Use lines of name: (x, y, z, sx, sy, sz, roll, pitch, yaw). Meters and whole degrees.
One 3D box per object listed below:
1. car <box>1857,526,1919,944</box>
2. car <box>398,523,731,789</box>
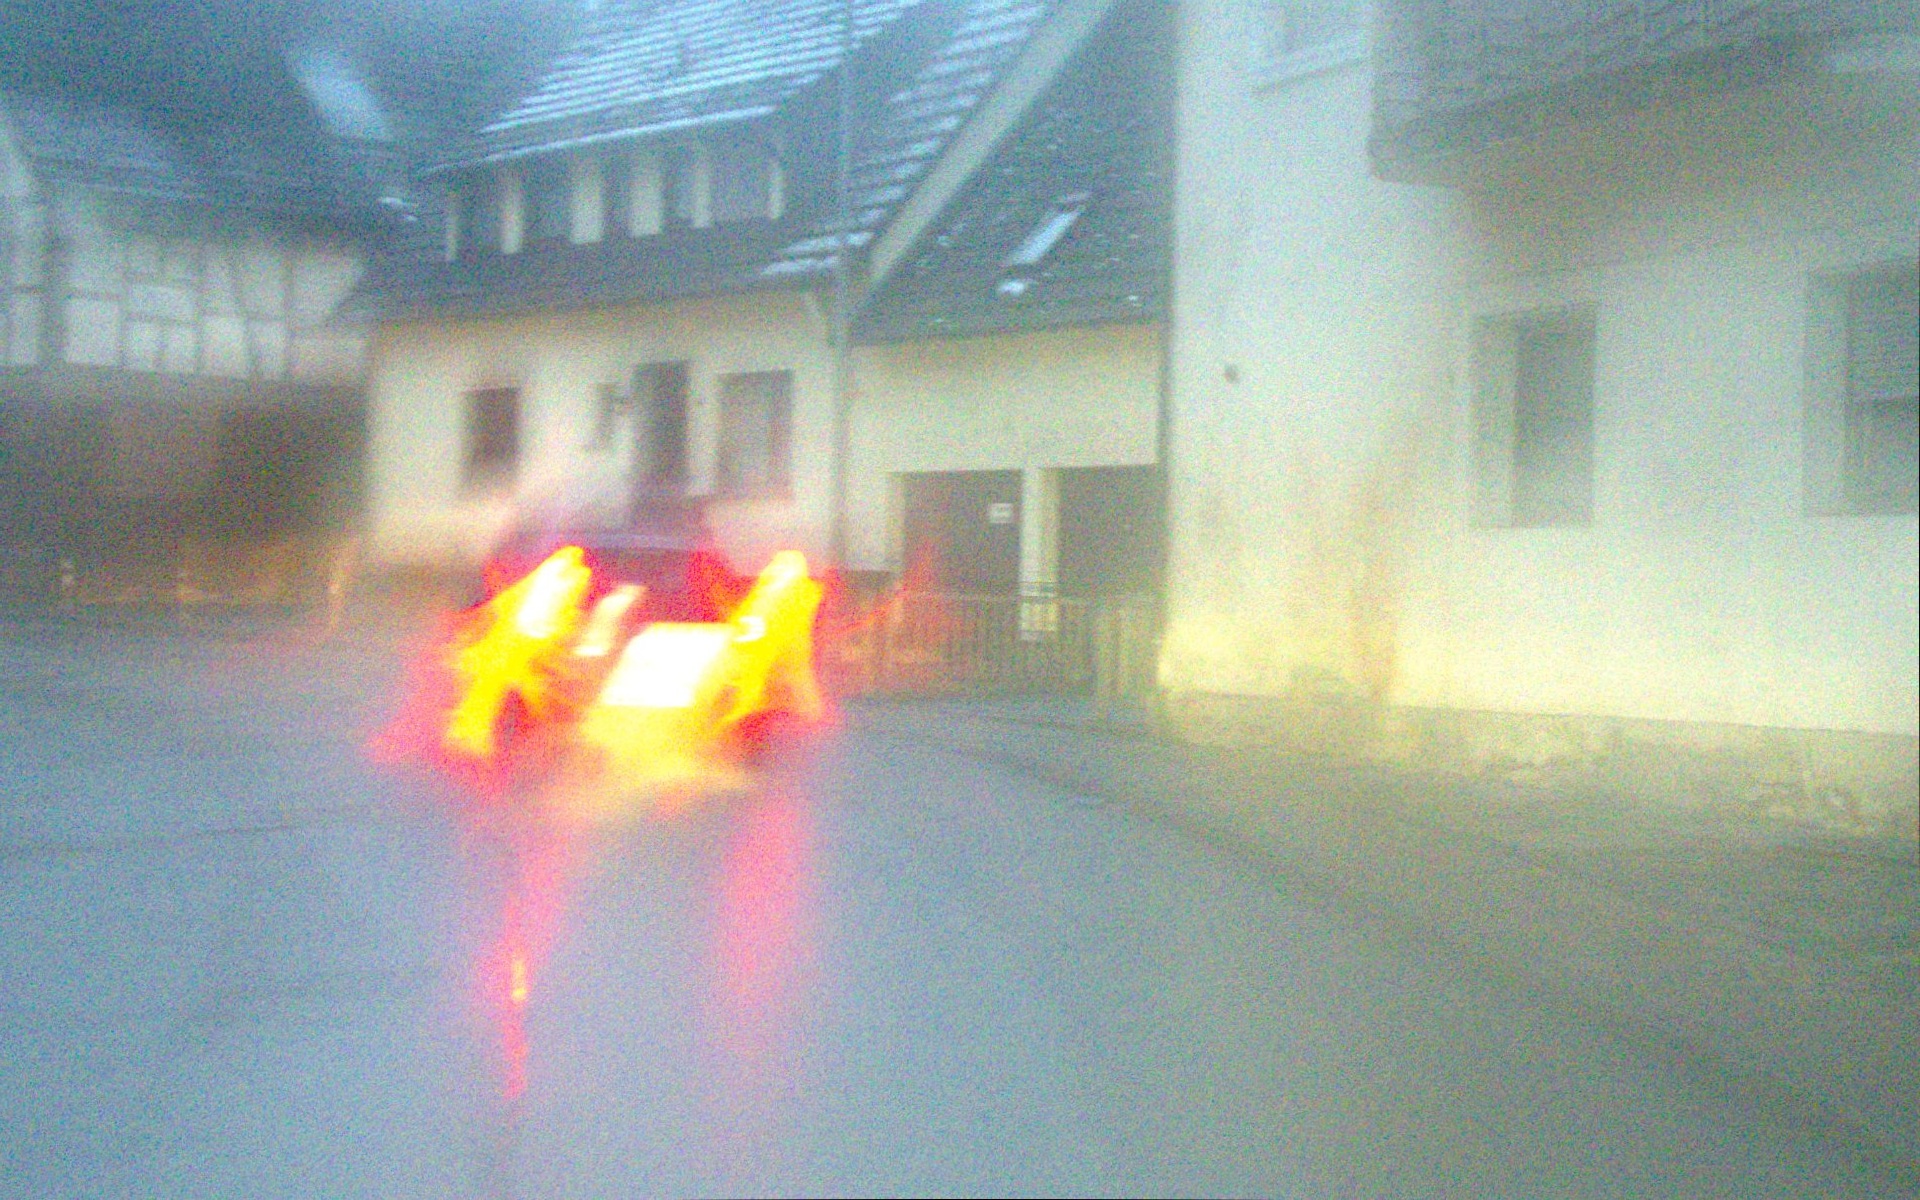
car: (4.911, 0.475, 10.868, 1.806, 1.482, 4.279, -1, 1, -22)
car: (-2.580, 0.291, 21.759, 1.545, 1.461, 3.700, 3, 1, -14)
